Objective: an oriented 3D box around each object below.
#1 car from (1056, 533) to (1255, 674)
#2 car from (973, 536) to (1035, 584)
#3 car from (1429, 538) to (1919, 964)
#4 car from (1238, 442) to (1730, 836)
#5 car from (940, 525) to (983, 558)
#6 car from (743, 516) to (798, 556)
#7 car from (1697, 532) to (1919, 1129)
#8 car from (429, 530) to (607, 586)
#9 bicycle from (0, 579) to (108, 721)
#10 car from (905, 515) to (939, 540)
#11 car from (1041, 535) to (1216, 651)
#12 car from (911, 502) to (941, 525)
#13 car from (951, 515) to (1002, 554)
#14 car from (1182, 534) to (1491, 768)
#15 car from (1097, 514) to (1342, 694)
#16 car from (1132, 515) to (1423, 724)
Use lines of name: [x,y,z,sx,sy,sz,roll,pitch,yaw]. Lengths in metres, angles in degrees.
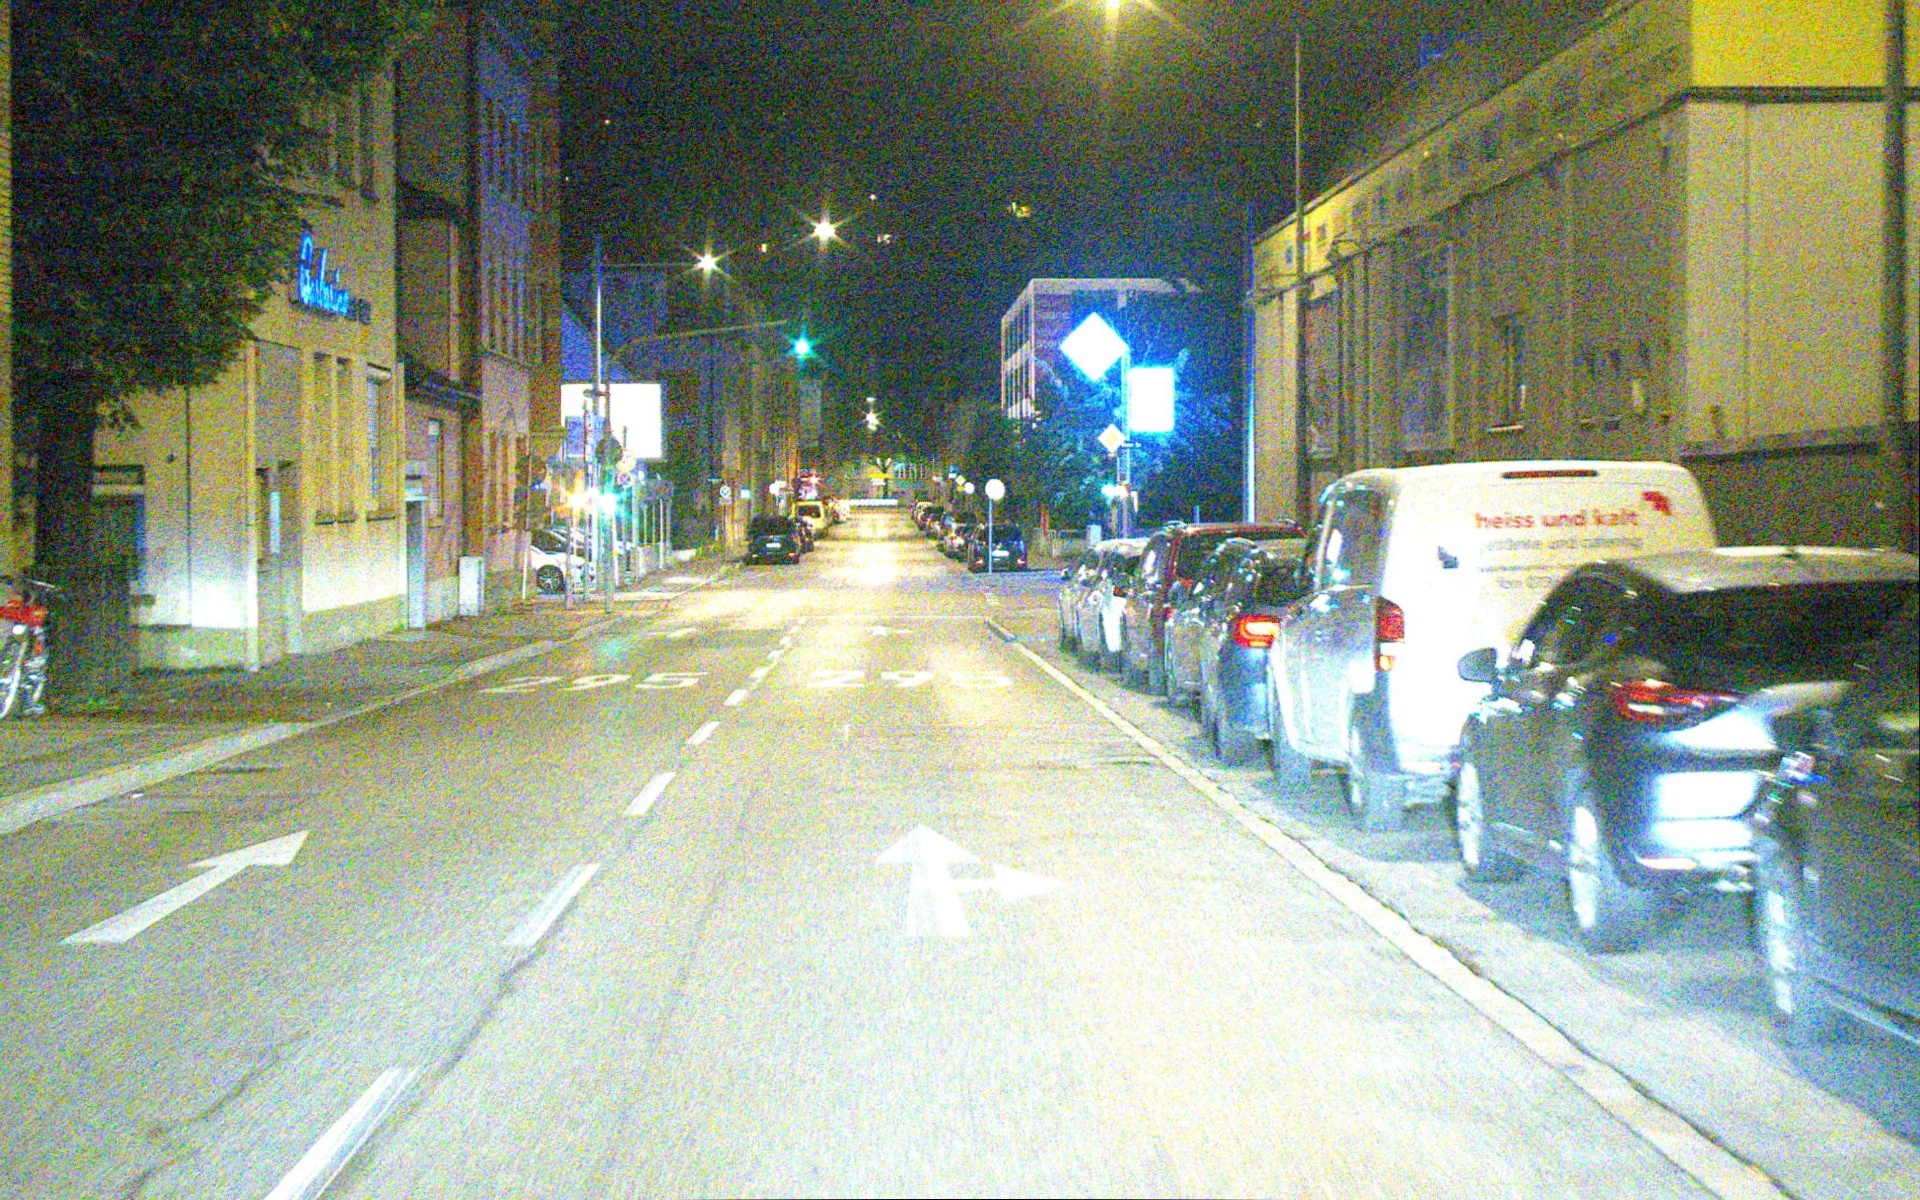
car: [2.196,0.008,39.830,1.774,1.539,4.547,0,1,-4]
car: [1.449,-1.336,114.170,1.993,1.511,4.000,1,2,0]
car: [2.965,0.493,13.761,1.595,1.462,3.892,0,1,-1]
car: [2.769,0.126,19.258,1.800,1.868,4.774,-2,2,-2]
car: [0.074,-2.760,162.303,1.993,1.515,4.000,0,1,0]
car: [-7.275,-2.450,132.335,1.993,1.497,4.000,0,1,-1]
car: [3.144,0.558,8.980,1.595,1.462,3.719,0,1,-1]
car: [-11.531,-1.101,89.910,4.438,1.444,2.000,0,1,-1]
bicycle: [-7.117,0.369,26.639,0.619,1.048,1.722,0,1,-1]
car: [-2.294,-4.411,210.109,1.993,1.515,4.000,0,1,0]
car: [2.219,-0.115,46.339,1.859,1.484,4.547,0,1,-4]
car: [-2.293,-5.887,233.309,1.993,1.515,4.000,0,1,0]
car: [0.661,-2.613,137.771,1.993,1.515,4.000,0,1,0]
car: [2.557,0.291,24.205,1.816,1.422,4.189,-2,1,2]
car: [2.496,-0.019,34.118,1.823,1.617,4.458,-1,2,-3]
car: [2.602,0.094,29.226,1.823,1.583,4.629,-1,2,-2]
